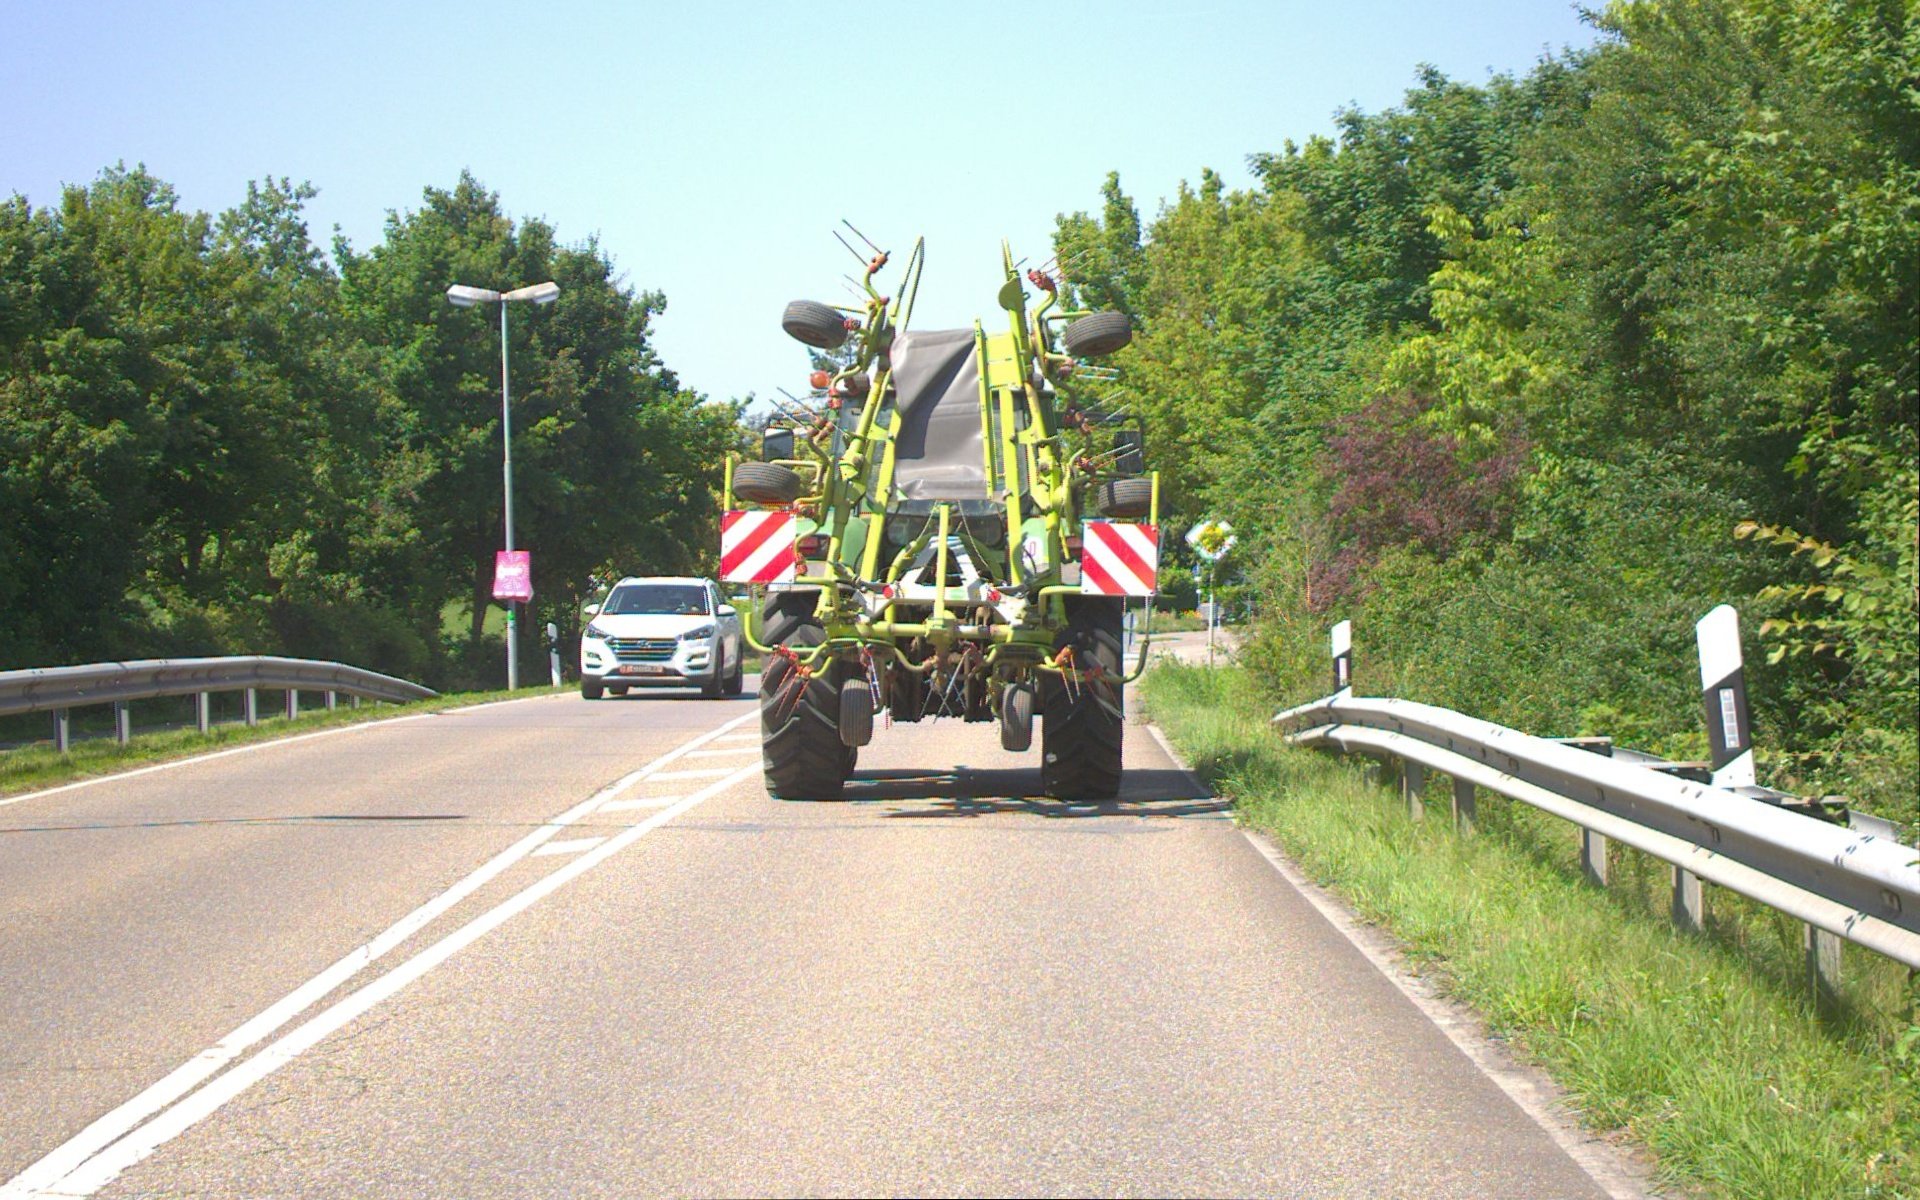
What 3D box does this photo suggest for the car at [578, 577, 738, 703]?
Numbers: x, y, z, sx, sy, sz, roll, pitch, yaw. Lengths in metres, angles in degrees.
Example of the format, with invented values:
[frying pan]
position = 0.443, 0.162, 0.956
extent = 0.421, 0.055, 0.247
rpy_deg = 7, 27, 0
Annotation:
[car]
position = -4.103, 0.520, 47.199
extent = 1.824, 1.634, 4.141
rpy_deg = 1, 0, 0

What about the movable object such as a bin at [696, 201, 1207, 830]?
[movable object such as a bin]
position = -0.103, -0.499, 24.356
extent = 2.853, 3.529, 9.701
rpy_deg = 1, 0, -1
